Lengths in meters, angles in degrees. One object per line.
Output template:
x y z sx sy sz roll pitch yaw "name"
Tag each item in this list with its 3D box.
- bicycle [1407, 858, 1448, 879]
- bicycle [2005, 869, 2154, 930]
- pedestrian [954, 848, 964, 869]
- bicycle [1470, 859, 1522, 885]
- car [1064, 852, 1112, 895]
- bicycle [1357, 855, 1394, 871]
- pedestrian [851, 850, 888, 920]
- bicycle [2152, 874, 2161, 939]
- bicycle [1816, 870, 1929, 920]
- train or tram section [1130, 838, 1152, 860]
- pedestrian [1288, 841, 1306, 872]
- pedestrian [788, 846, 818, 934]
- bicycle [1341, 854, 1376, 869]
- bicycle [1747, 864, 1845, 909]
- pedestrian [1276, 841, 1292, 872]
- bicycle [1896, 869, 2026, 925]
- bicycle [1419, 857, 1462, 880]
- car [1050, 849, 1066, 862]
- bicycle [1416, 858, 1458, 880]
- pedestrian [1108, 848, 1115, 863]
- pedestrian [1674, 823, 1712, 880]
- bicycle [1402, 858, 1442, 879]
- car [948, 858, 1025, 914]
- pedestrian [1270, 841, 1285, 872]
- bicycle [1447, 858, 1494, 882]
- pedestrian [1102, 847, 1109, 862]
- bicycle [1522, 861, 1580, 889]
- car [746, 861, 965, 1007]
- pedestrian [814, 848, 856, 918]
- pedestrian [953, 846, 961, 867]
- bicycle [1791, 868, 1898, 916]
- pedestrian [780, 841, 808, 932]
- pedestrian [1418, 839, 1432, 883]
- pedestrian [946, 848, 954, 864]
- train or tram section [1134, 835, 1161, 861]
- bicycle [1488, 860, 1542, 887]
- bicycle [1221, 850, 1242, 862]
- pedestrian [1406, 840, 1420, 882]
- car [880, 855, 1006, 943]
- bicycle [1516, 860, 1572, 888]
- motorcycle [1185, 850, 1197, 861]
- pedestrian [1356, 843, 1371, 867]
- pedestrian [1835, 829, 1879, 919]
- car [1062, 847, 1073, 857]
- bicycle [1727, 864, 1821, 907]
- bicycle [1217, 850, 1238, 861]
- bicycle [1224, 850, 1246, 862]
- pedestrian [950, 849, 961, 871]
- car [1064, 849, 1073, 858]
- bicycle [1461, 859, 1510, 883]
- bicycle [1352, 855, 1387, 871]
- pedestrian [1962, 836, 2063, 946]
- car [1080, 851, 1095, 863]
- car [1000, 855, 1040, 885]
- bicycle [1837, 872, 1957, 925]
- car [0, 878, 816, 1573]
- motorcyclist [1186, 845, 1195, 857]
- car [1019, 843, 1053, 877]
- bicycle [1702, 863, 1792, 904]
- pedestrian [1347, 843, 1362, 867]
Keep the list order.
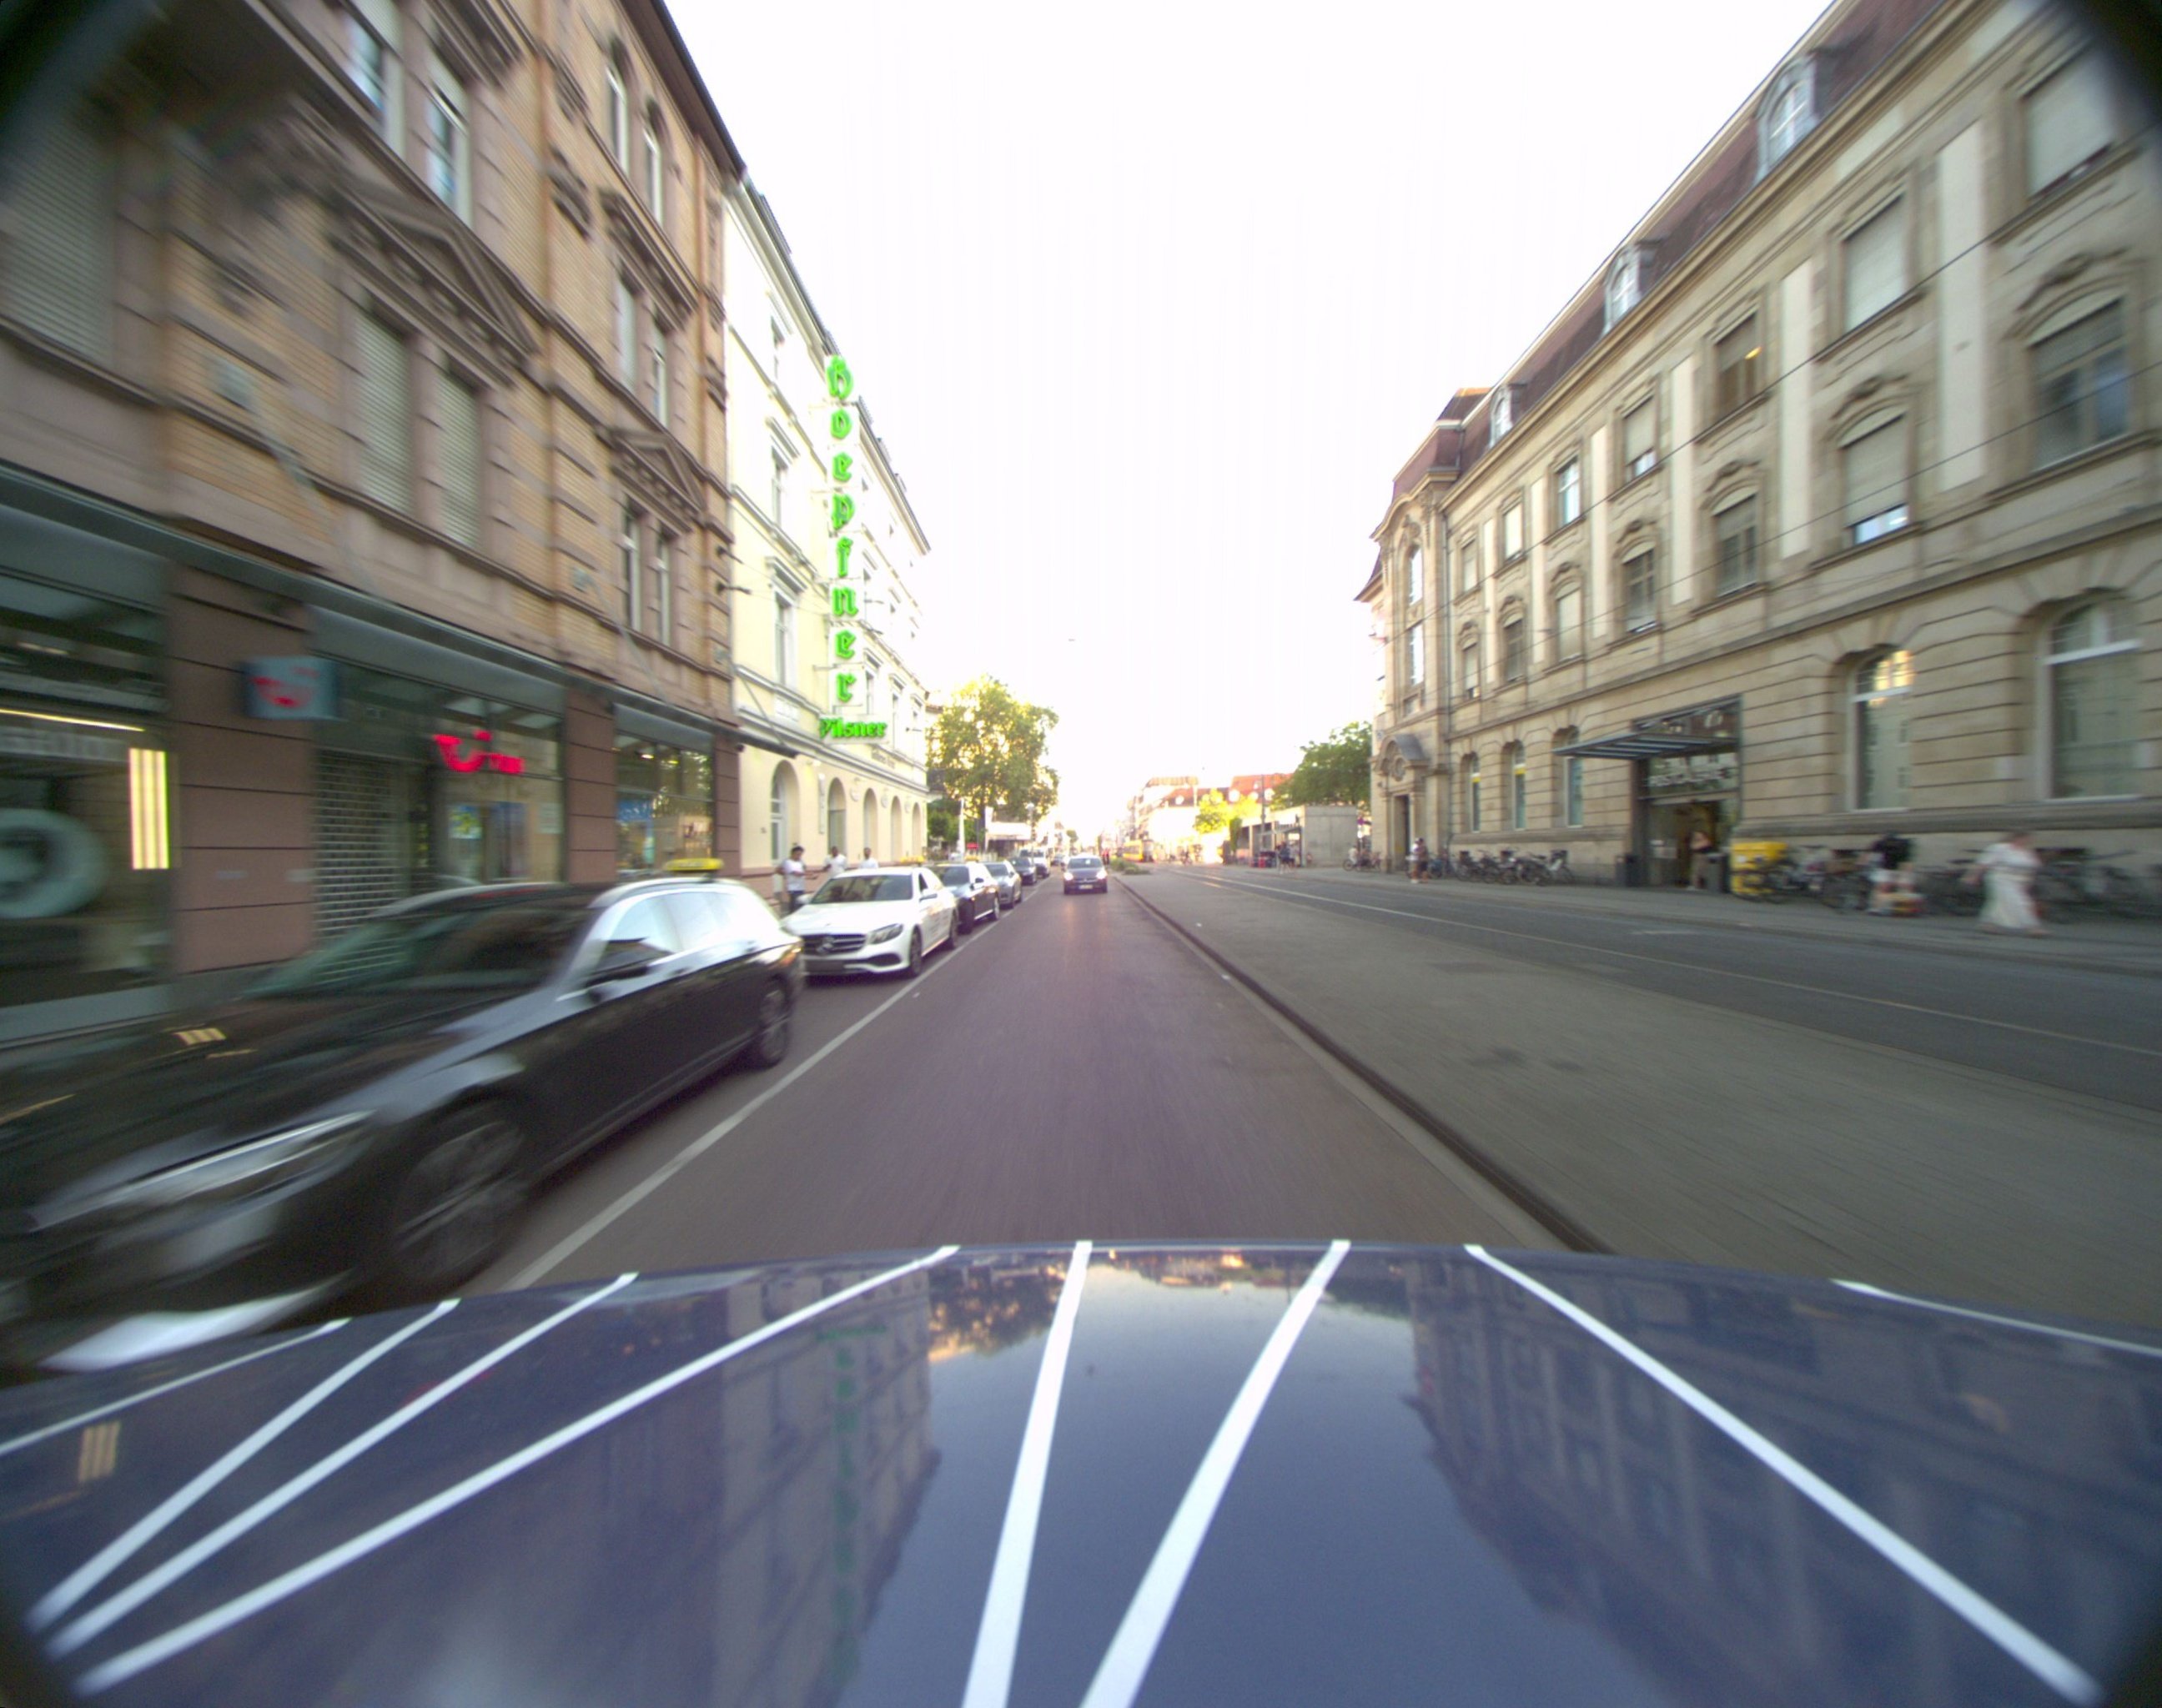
15.435 0.646 33.819 1.579 0.869 0.451 -2 1 5 "bicycle"
15.454 0.700 11.777 1.579 0.869 0.451 -2 1 5 "bicycle"
-7.645 0.292 47.721 0.532 1.289 0.490 -1 1 -15 "pedestrian"
15.084 0.665 27.618 1.579 0.869 0.451 -2 1 5 "bicycle"
0.282 0.734 30.458 1.738 1.495 3.999 -2 1 1 "car"
16.926 0.514 43.693 1.840 0.863 0.635 -2 1 -2 "bicycle"
-5.224 0.759 18.764 0.619 1.679 0.486 4 1 17 "pedestrian"
15.484 0.691 10.152 1.579 0.869 0.451 -2 1 5 "bicycle"
15.011 0.775 14.434 1.579 0.869 0.451 -2 1 5 "bicycle"
10.261 -0.809 130.914 2.902 3.664 11.982 -1 0 0 "train or tram section"
12.081 0.154 42.534 0.678 1.726 0.678 0 1 -39 "pedestrian"
-5.712 0.724 15.635 0.374 1.758 0.663 1 1 -3 "pedestrian"
16.963 0.454 46.471 1.840 0.863 0.635 -2 1 -2 "bicycle"
15.197 0.685 16.163 1.579 0.869 0.451 -2 1 5 "bicycle"
11.302 0.137 42.254 0.483 1.726 0.678 0 1 -36 "pedestrian"
14.957 0.722 12.932 1.579 0.869 0.451 -2 1 5 "bicycle"
15.111 0.603 31.969 1.579 0.869 0.451 -2 1 5 "bicycle"
-2.793 0.151 93.652 1.771 1.565 3.999 1 1 0 "car"
15.401 0.661 32.899 1.579 0.869 0.451 -2 1 5 "bicycle"
3.263 0.126 81.976 0.638 1.616 0.519 -2 2 -10 "pedestrian"
16.895 -0.065 20.978 0.736 1.524 0.779 -1 1 44 "pedestrian"
15.407 0.640 34.358 1.579 0.869 0.451 -2 1 5 "bicycle"
-2.892 0.933 24.250 1.810 1.467 4.692 -2 1 0 "car"
11.169 0.135 43.202 0.650 1.726 0.594 0 1 -9 "pedestrian"
15.243 0.629 29.753 1.579 0.869 0.451 -2 1 5 "bicycle"
2.670 0.101 82.911 0.638 1.616 0.519 -2 2 -10 "pedestrian"
15.442 0.688 24.993 1.579 0.869 0.451 -2 1 5 "bicycle"
-3.011 0.966 11.346 1.737 1.502 4.864 -3 1 0 "car"
-6.113 0.718 18.900 0.761 1.679 0.551 3 1 0 "pedestrian"
-9.430 0.197 57.793 0.490 1.549 0.532 -1 1 0 "pedestrian"
15.123 0.751 15.069 1.579 0.869 0.451 -2 1 5 "bicycle"
-5.662 0.635 15.007 0.374 1.758 0.455 1 1 -3 "pedestrian"
13.255 0.257 29.294 0.375 1.664 0.494 -1 2 33 "pedestrian"
-10.267 0.160 59.474 0.532 1.289 0.491 -1 1 0 "pedestrian"
10.227 -0.884 118.120 2.902 3.664 13.480 -1 0 0 "train or tram section"
15.205 0.675 26.624 1.579 0.869 0.451 -2 1 5 "bicycle"
16.084 0.206 81.258 2.131 1.153 0.692 -1 1 2 "bicycle"
12.912 0.267 29.532 0.375 1.622 0.494 -1 2 35 "pedestrian"
-2.965 0.907 17.346 1.737 1.581 4.442 -3 1 3 "car"
15.654 0.670 25.710 1.579 0.869 0.451 -2 1 5 "bicycle"
12.867 0.151 88.957 0.807 1.230 1.777 -3 1 -15 "motorcycle"
18.020 0.069 48.429 0.661 1.553 0.679 -1 1 -3 "pedestrian"
14.329 0.356 14.036 0.365 1.624 0.430 -2 1 6 "pedestrian"
-2.248 -0.315 126.548 1.771 1.565 3.999 1 1 0 "car"
15.264 0.683 16.748 1.579 0.869 0.451 -2 1 5 "bicycle"
15.955 0.187 82.995 2.131 1.153 0.692 -1 1 2 "bicycle"
16.129 0.227 79.638 2.131 1.153 0.692 -1 1 2 "bicycle"
-7.501 0.378 45.443 0.532 1.289 0.491 -1 1 0 "pedestrian"
-2.512 -0.087 150.972 1.771 1.565 3.999 1 1 0 "car"
15.416 0.649 28.971 1.579 0.869 0.451 -2 1 5 "bicycle"
16.861 0.506 44.417 1.840 0.863 0.635 -2 1 -2 "bicycle"
12.710 0.492 10.388 0.693 1.458 0.557 -1 1 22 "pedestrian"
0.792 0.423 99.292 1.810 1.474 4.283 -3 0 0 "car"
-3.094 0.779 39.447 1.701 1.382 4.547 1 1 0 "car"
14.661 0.800 13.674 1.579 0.869 0.451 -2 1 5 "bicycle"
-3.220 1.015 4.248 1.730 1.468 4.819 -2 1 0 "car"
12.826 -0.345 88.995 0.800 1.431 0.799 -3 1 -16 "motorcyclist"
-2.832 0.318 48.950 1.857 2.055 5.215 -1 1 1 "car"
15.237 0.675 17.394 1.579 0.869 0.451 -2 1 5 "bicycle"
17.927 0.083 49.788 0.661 1.553 0.679 -1 1 -3 "pedestrian"
